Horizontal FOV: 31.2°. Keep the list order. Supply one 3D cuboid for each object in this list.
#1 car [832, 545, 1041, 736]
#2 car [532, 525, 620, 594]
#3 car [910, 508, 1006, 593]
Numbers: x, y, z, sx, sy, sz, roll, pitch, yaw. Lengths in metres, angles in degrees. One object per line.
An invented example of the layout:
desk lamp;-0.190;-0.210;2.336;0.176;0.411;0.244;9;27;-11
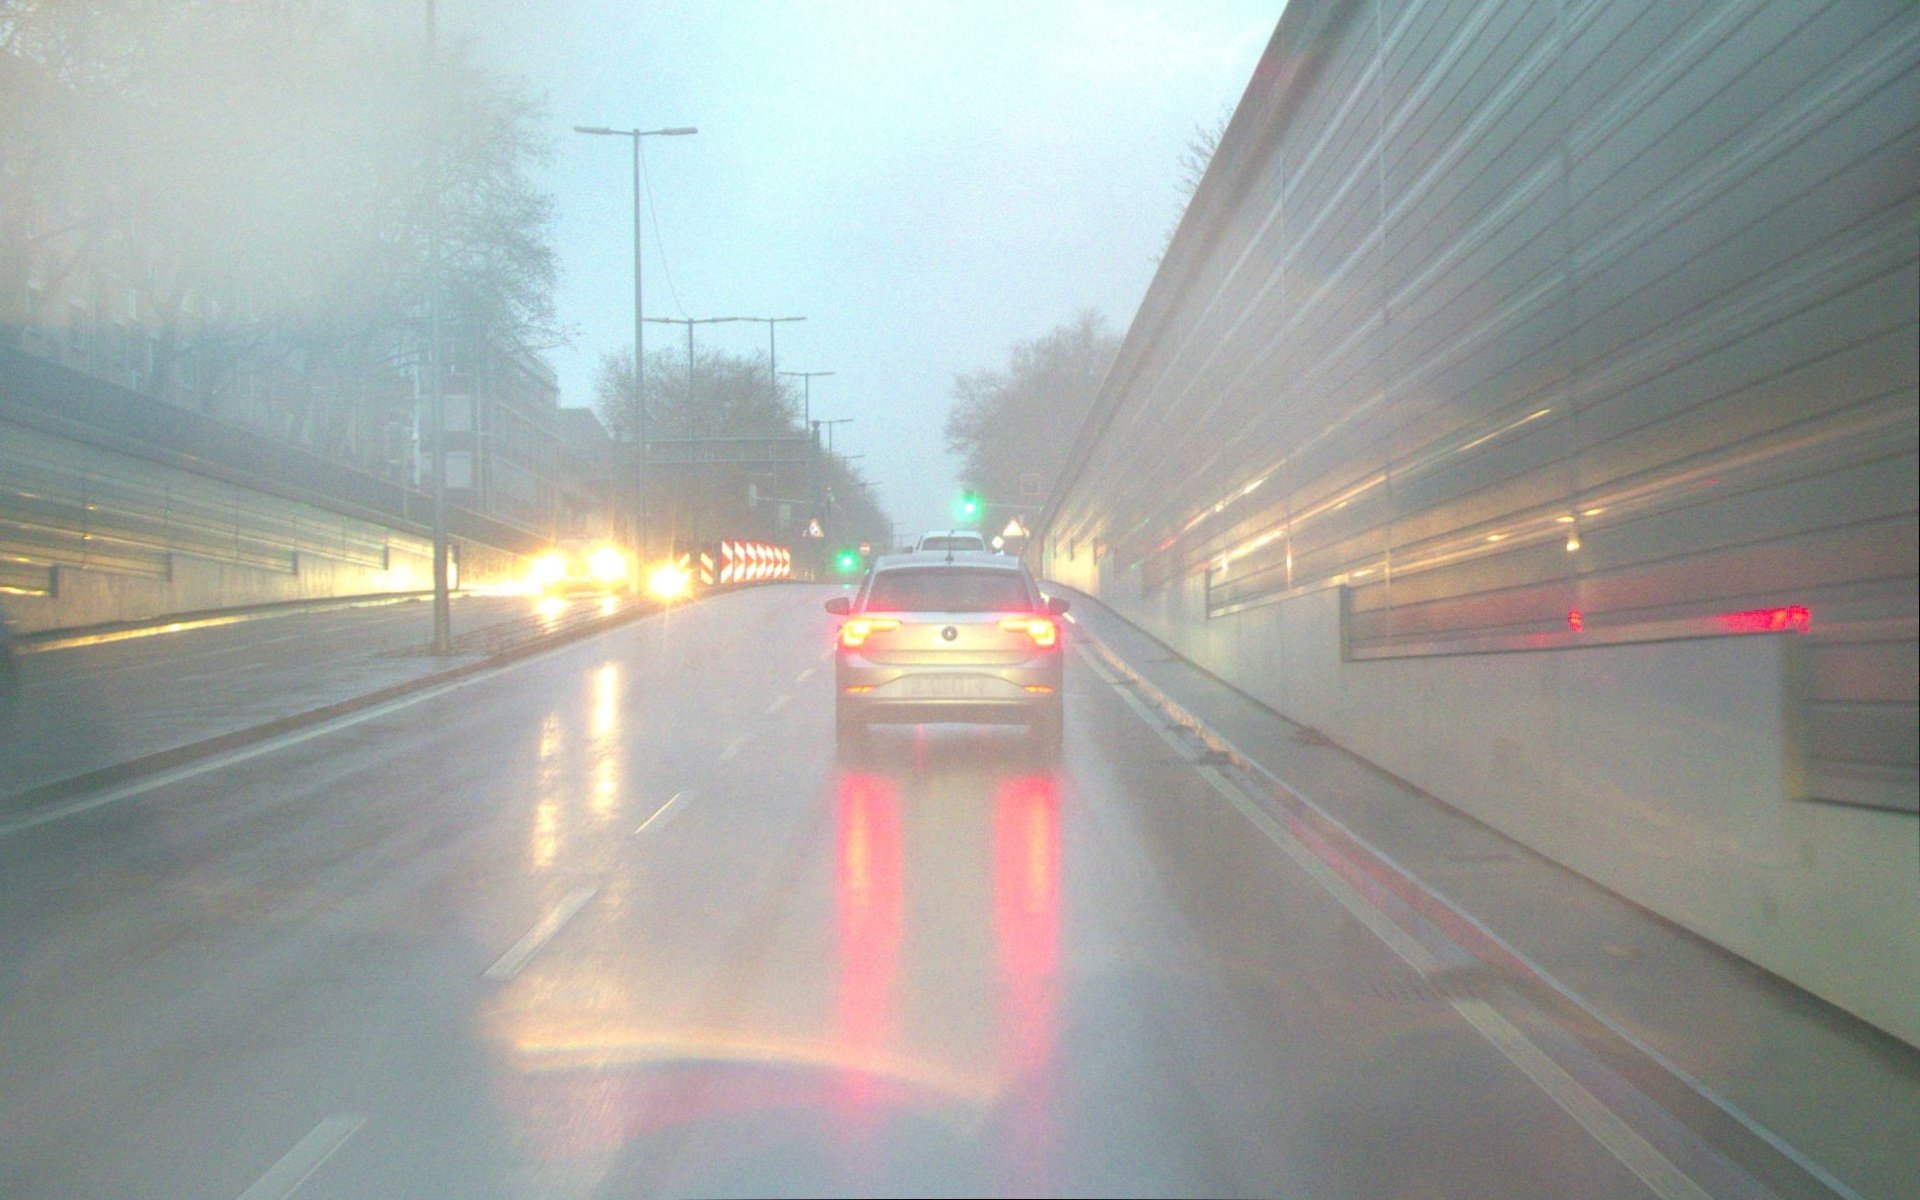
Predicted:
car;-0.174;0.310;26.888;1.532;1.392;3.434;0;0;0
car;-8.728;-0.944;78.383;1.571;1.466;3.687;-2;2;0
car;-0.065;-1.014;72.254;1.880;1.615;4.000;0;-2;-2
